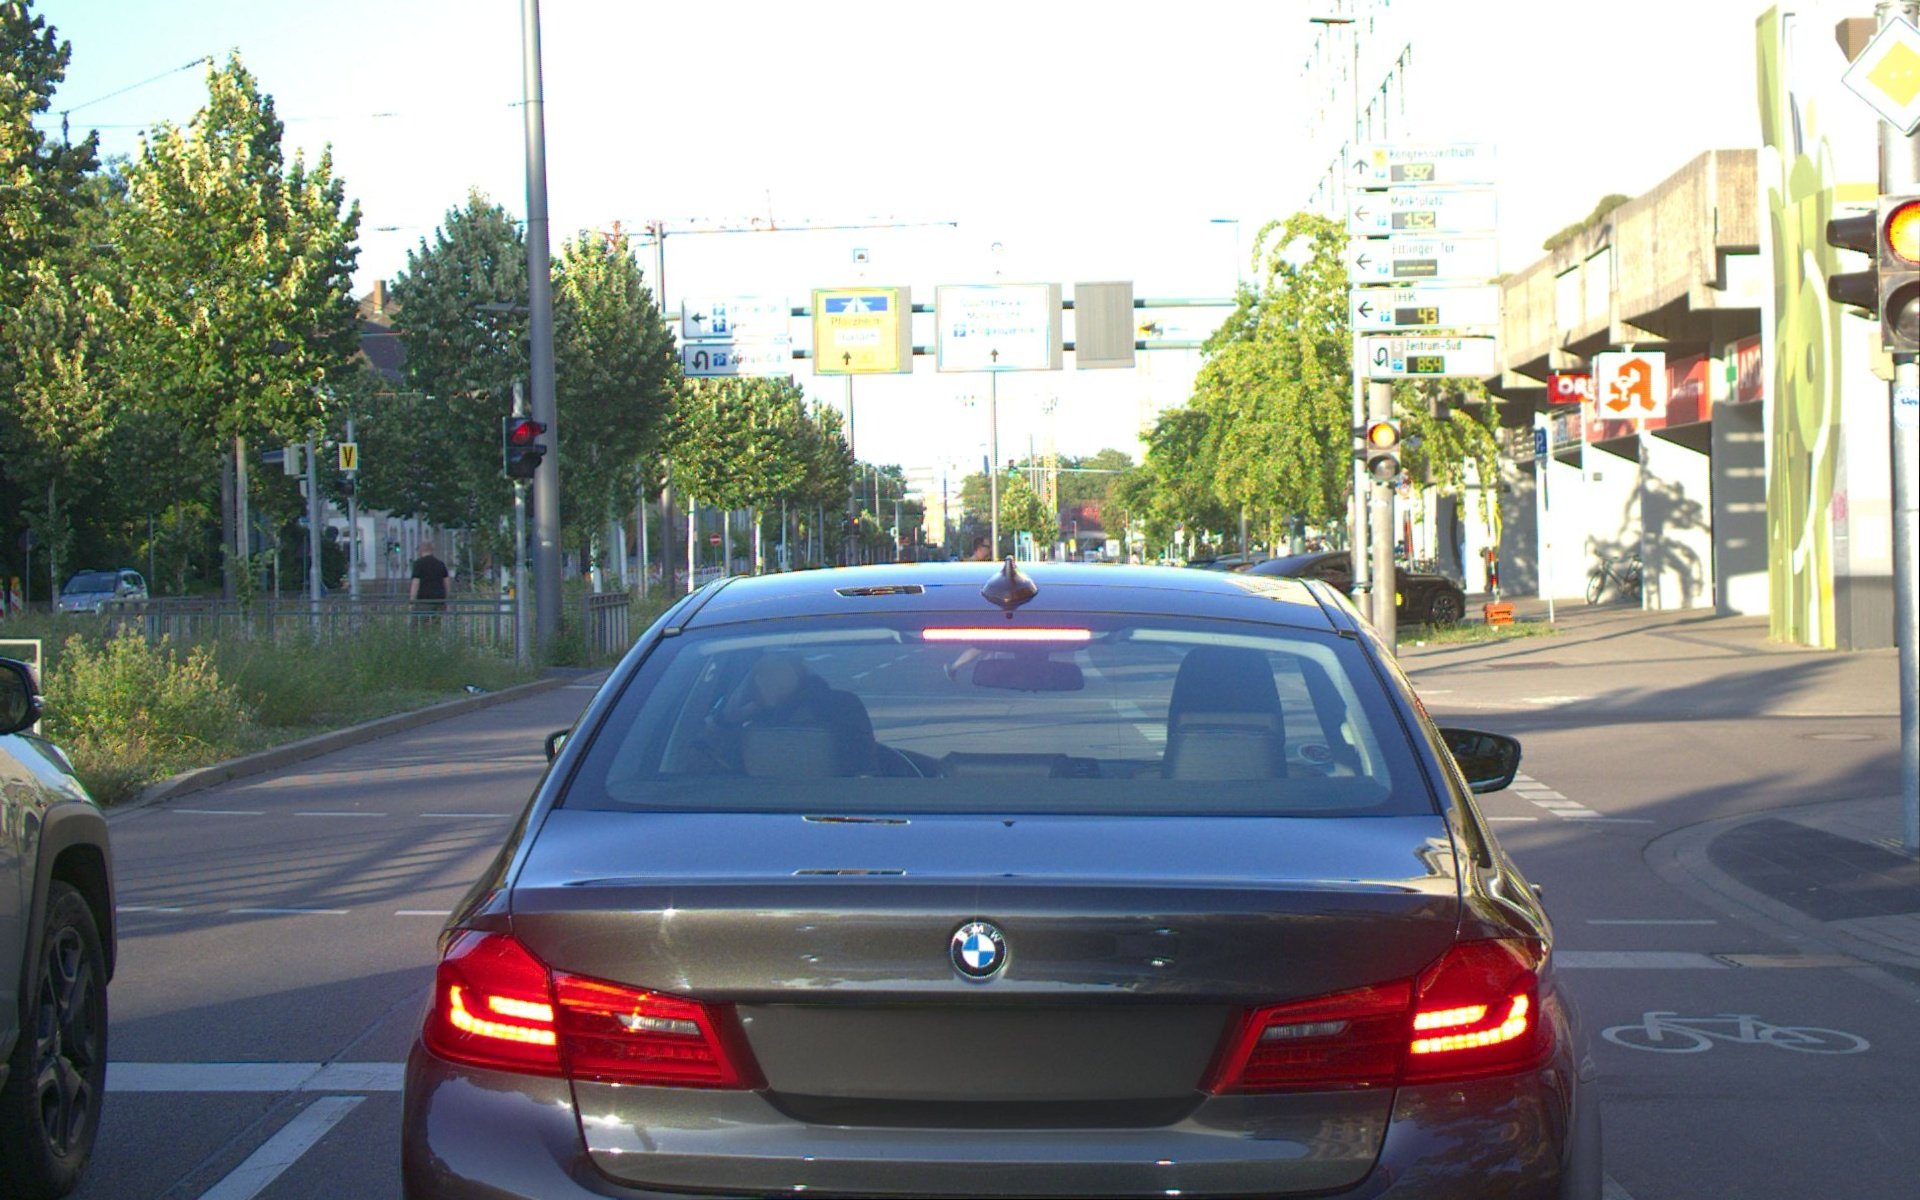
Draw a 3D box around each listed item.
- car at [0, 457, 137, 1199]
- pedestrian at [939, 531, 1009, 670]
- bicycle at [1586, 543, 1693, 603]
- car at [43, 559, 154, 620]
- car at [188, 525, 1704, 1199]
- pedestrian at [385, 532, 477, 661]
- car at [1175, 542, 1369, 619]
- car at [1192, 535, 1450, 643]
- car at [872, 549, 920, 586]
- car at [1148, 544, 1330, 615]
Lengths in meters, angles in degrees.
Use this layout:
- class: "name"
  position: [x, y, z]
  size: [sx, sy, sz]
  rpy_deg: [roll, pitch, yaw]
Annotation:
- class: "car"
  position: [-2.869, 0.559, 6.222]
  size: [1.854, 1.653, 4.269]
  rpy_deg: [0, 2, -2]
- class: "pedestrian"
  position: [0.171, 0.004, 43.120]
  size: [0.835, 1.706, 0.648]
  rpy_deg: [-1, 1, -1]
- class: "bicycle"
  position: [13.622, -0.537, 68.964]
  size: [2.017, 1.145, 0.690]
  rpy_deg: [2, 0, 7]
- class: "car"
  position: [-21.728, -0.280, 86.826]
  size: [1.800, 1.476, 3.783]
  rpy_deg: [-1, 1, 1]
- class: "car"
  position: [0.047, 0.623, 6.658]
  size: [1.932, 1.476, 4.522]
  rpy_deg: [0, 2, 2]
- class: "pedestrian"
  position: [-6.659, -0.046, 43.259]
  size: [0.809, 1.581, 0.837]
  rpy_deg: [-2, 1, -37]
- class: "car"
  position: [7.186, -0.468, 79.021]
  size: [4.255, 1.653, 1.860]
  rpy_deg: [-1, 2, -35]
- class: "car"
  position: [5.965, -0.214, 56.540]
  size: [4.256, 1.653, 1.860]
  rpy_deg: [-2, 3, -42]
- class: "car"
  position: [-2.717, -1.410, 146.945]
  size: [1.979, 1.428, 4.843]
  rpy_deg: [0, 2, 0]
- class: "car"
  position: [6.923, -0.527, 85.152]
  size: [4.255, 1.653, 1.860]
  rpy_deg: [-1, 2, -35]
